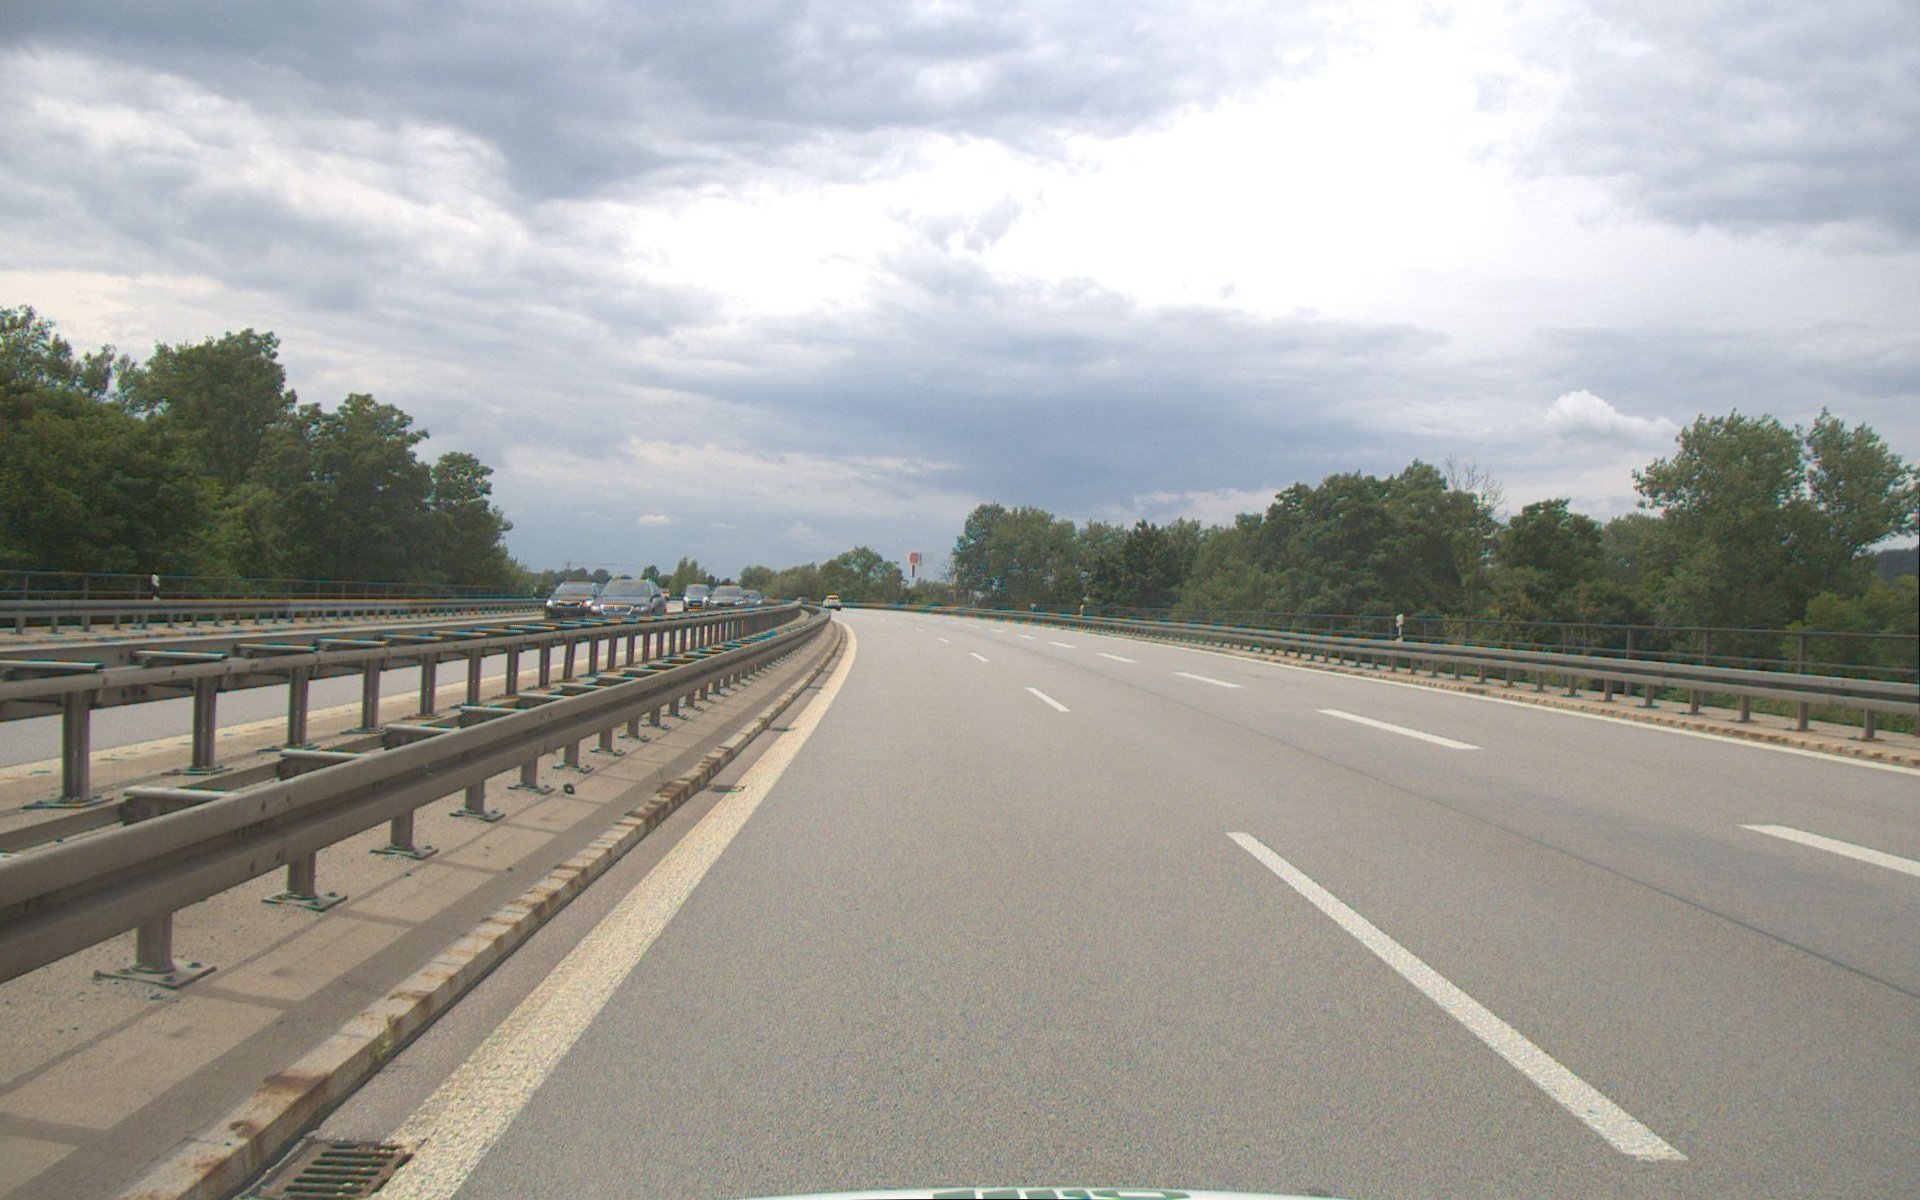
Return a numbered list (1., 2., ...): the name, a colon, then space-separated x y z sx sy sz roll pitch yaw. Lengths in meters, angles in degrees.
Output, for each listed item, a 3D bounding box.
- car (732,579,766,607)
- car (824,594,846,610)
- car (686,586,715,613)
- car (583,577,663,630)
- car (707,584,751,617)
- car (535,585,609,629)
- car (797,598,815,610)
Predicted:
1. car: -12.650 -0.443 99.488 1.611 1.576 3.998 3 0 -3
2. car: -14.416 0.256 190.369 1.869 1.669 4.381 2 -1 -13
3. car: -17.187 -0.057 109.760 1.620 1.568 3.994 5 0 -7
4. car: -9.466 0.088 46.695 1.619 1.391 4.145 1 0 -4
5. car: -10.812 -0.008 77.646 1.658 1.462 4.107 2 0 -4
6. car: -13.621 0.235 58.319 1.703 1.434 4.938 2 0 -4
7. car: -21.701 0.547 232.606 1.859 1.668 4.607 2 0 -12
